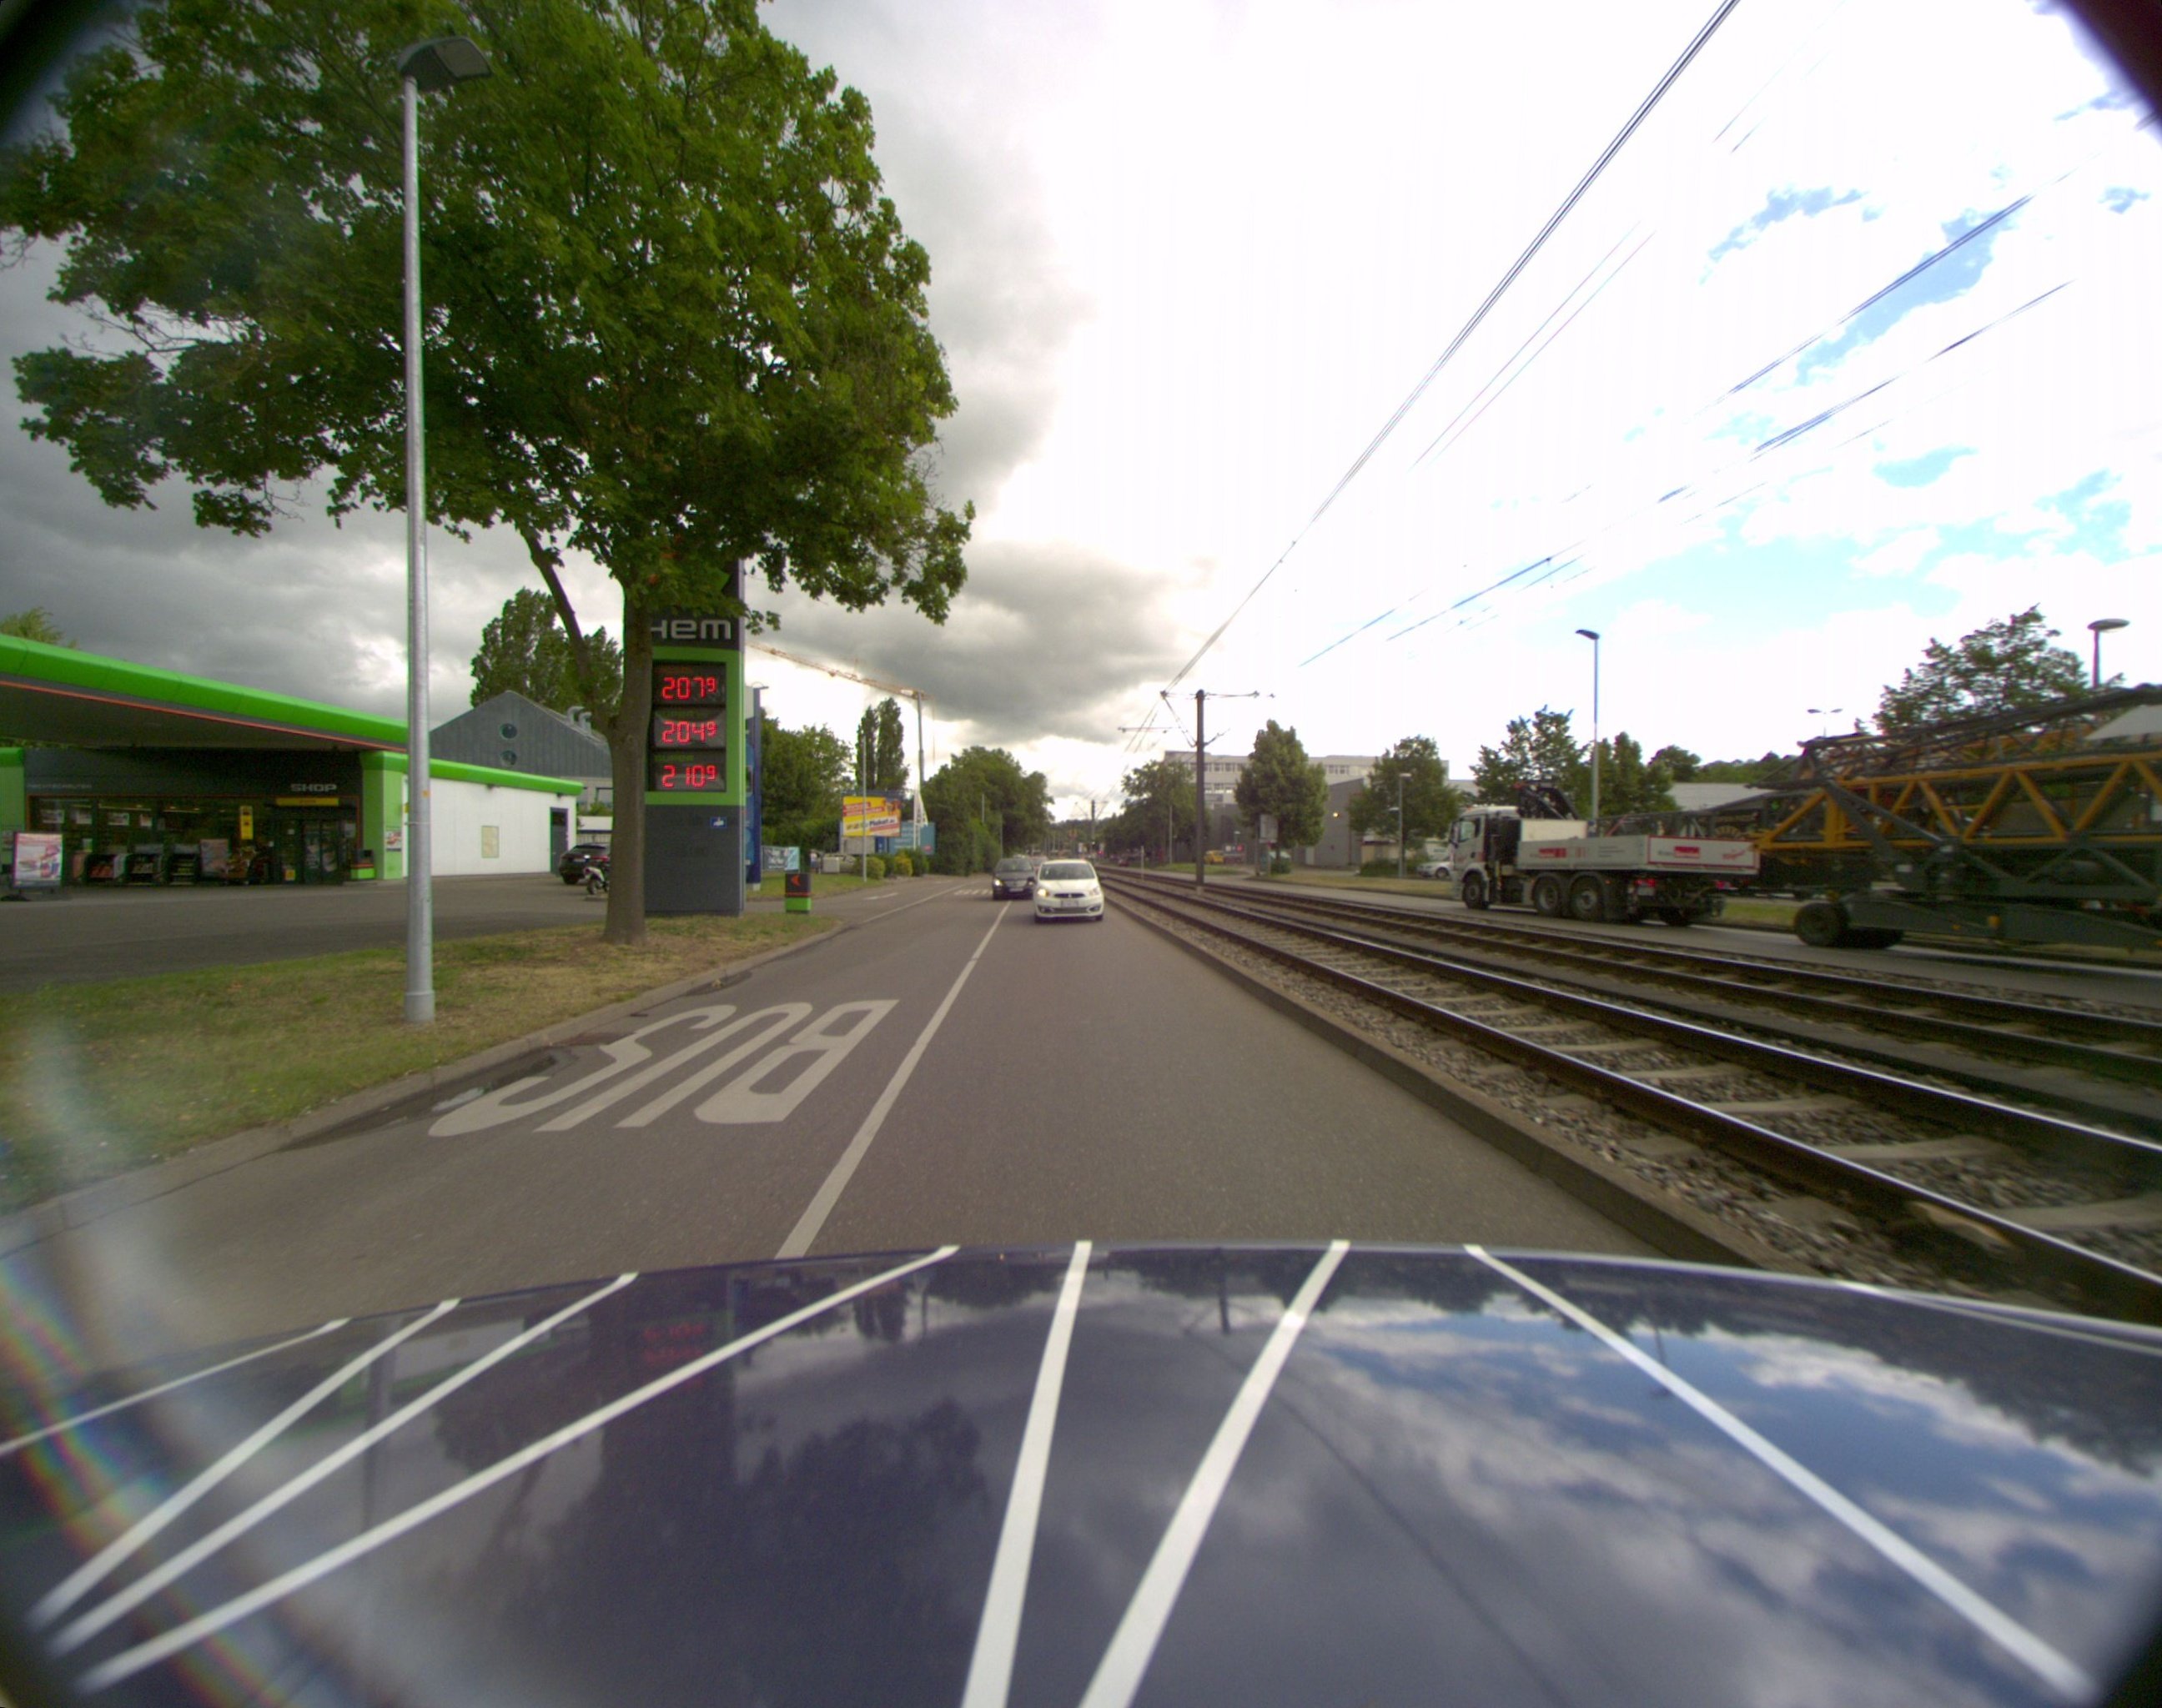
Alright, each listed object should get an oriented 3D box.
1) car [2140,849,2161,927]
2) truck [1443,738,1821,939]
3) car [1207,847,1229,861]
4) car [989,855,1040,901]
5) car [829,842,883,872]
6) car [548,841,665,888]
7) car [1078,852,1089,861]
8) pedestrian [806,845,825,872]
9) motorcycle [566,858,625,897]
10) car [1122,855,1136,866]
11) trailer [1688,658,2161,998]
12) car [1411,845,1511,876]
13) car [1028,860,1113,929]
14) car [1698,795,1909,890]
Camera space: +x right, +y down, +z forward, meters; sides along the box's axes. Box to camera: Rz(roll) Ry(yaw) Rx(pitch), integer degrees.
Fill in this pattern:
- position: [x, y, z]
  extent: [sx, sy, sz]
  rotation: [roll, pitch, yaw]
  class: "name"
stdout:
- position: [23.463, 0.582, 14.505]
  extent: [4.483, 1.498, 1.794]
  rotation: [-2, 0, -6]
  class: "car"
- position: [12.960, -0.276, 19.316]
  extent: [2.900, 3.943, 8.628]
  rotation: [1, 0, -4]
  class: "truck"
- position: [18.963, 0.010, 105.372]
  extent: [1.999, 2.002, 3.998]
  rotation: [0, 0, -4]
  class: "car"
- position: [-2.630, 0.882, 29.860]
  extent: [1.787, 1.614, 3.998]
  rotation: [-2, 0, -5]
  class: "car"
- position: [-14.865, 0.179, 50.281]
  extent: [3.246, 1.782, 1.543]
  rotation: [-3, 1, -14]
  class: "car"
- position: [-18.515, 0.383, 29.926]
  extent: [1.999, 1.629, 4.325]
  rotation: [2, 0, -3]
  class: "car"
- position: [0.622, 0.589, 176.981]
  extent: [1.999, 2.002, 3.998]
  rotation: [-2, 0, -5]
  class: "car"
- position: [-17.139, 0.280, 49.046]
  extent: [1.043, 1.688, 1.074]
  rotation: [-3, 1, -23]
  class: "pedestrian"
- position: [-15.562, 0.734, 24.430]
  extent: [0.705, 1.180, 2.386]
  rotation: [0, 0, -9]
  class: "motorcycle"
- position: [9.220, 1.286, 145.540]
  extent: [1.999, 2.002, 3.998]
  rotation: [-2, 0, -5]
  class: "car"
- position: [13.710, -0.261, 7.785]
  extent: [2.679, 3.874, 14.420]
  rotation: [2, 0, -3]
  class: "trailer"
- position: [21.282, 0.366, 42.664]
  extent: [4.612, 1.484, 2.000]
  rotation: [-2, 0, 0]
  class: "car"
- position: [-0.364, 0.936, 19.202]
  extent: [1.787, 1.435, 3.998]
  rotation: [-2, 0, -5]
  class: "car"
- position: [22.365, -0.332, 23.664]
  extent: [4.482, 2.732, 2.288]
  rotation: [1, 0, -4]
  class: "car"
